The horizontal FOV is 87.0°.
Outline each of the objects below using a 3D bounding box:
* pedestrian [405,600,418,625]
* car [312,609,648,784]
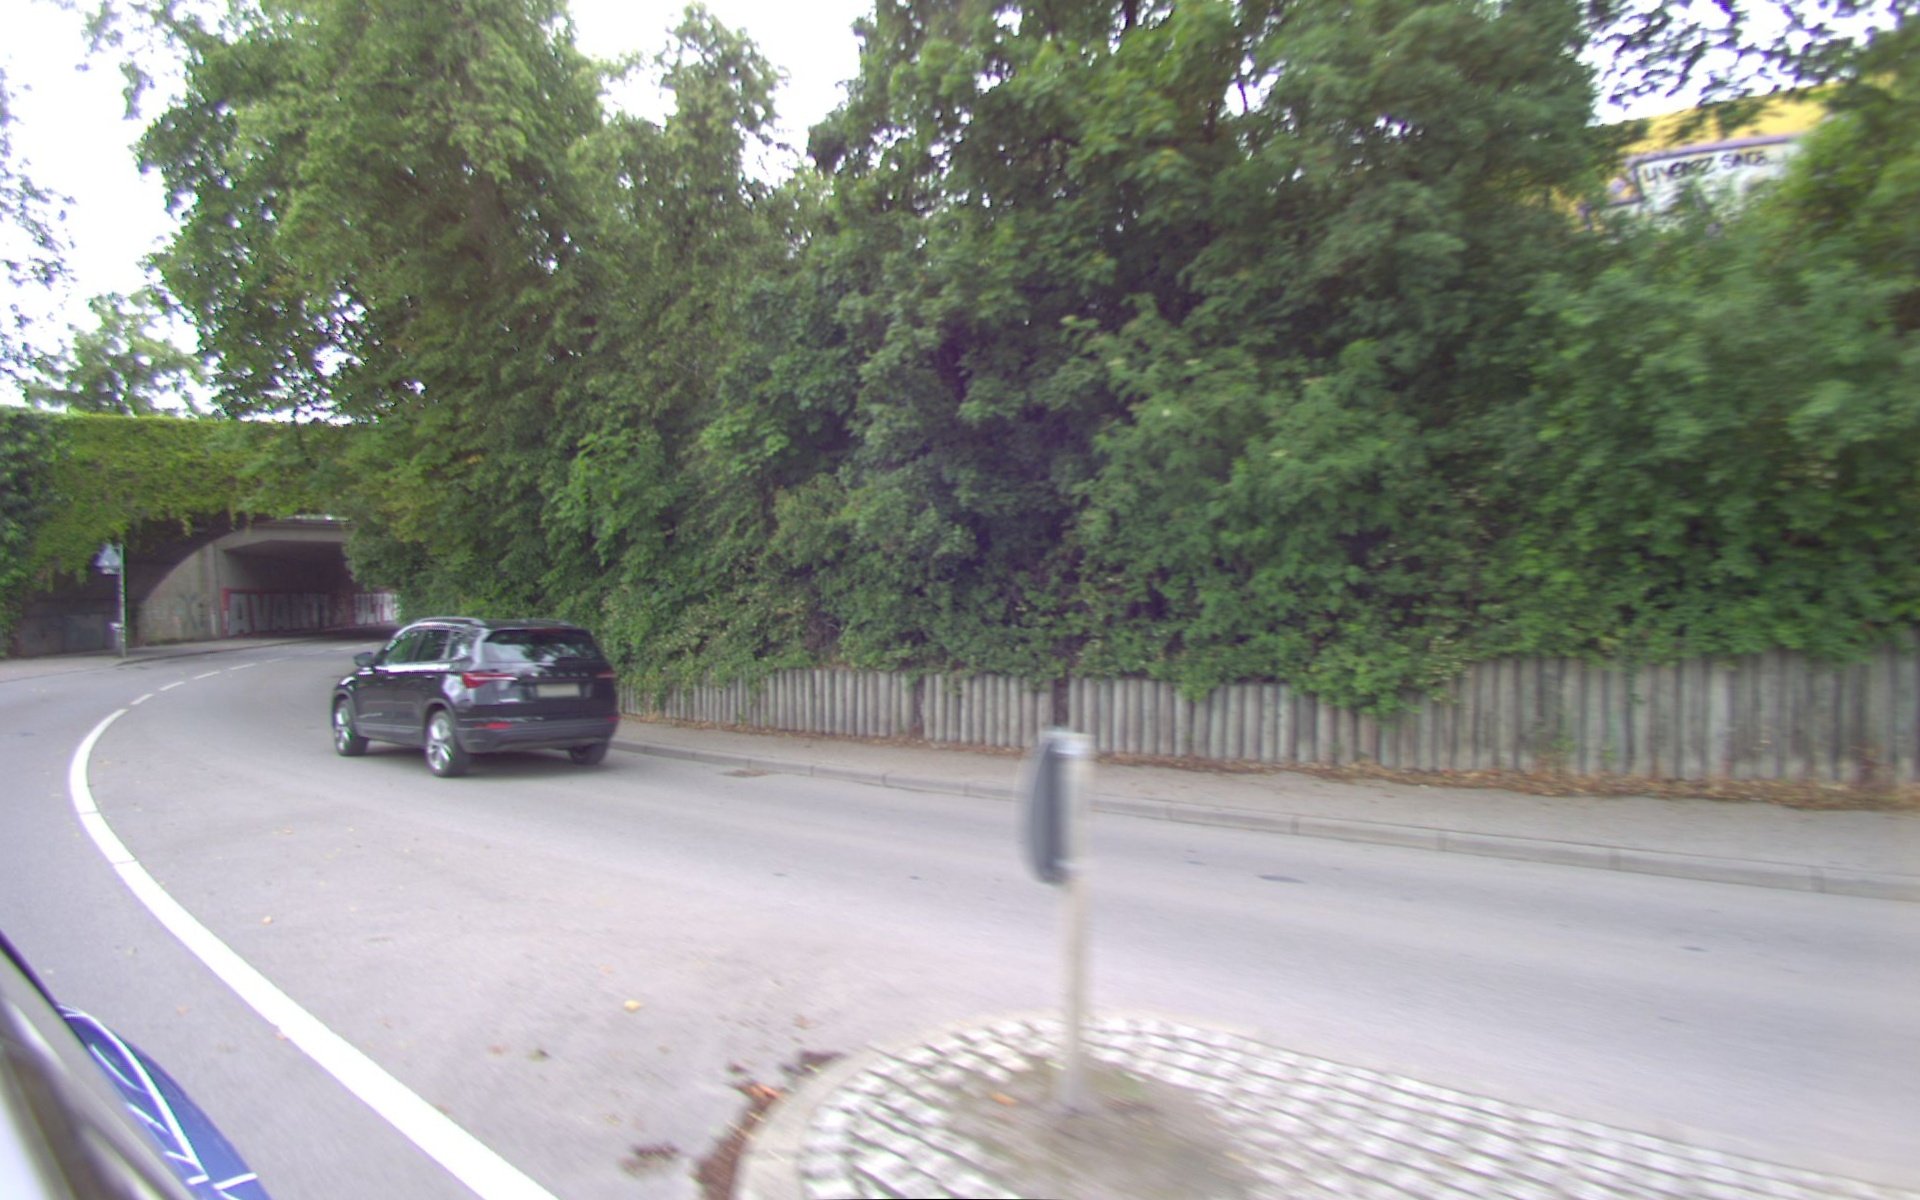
[{"bbox_3d":[-44.412,1.007,81.953,0.808,1.894,1.185,2,-1,-23],"label":"pedestrian"},{"bbox_3d":[-5.516,0.974,11.427,4.172,1.622,1.784,-2,-3,39],"label":"car"}]
